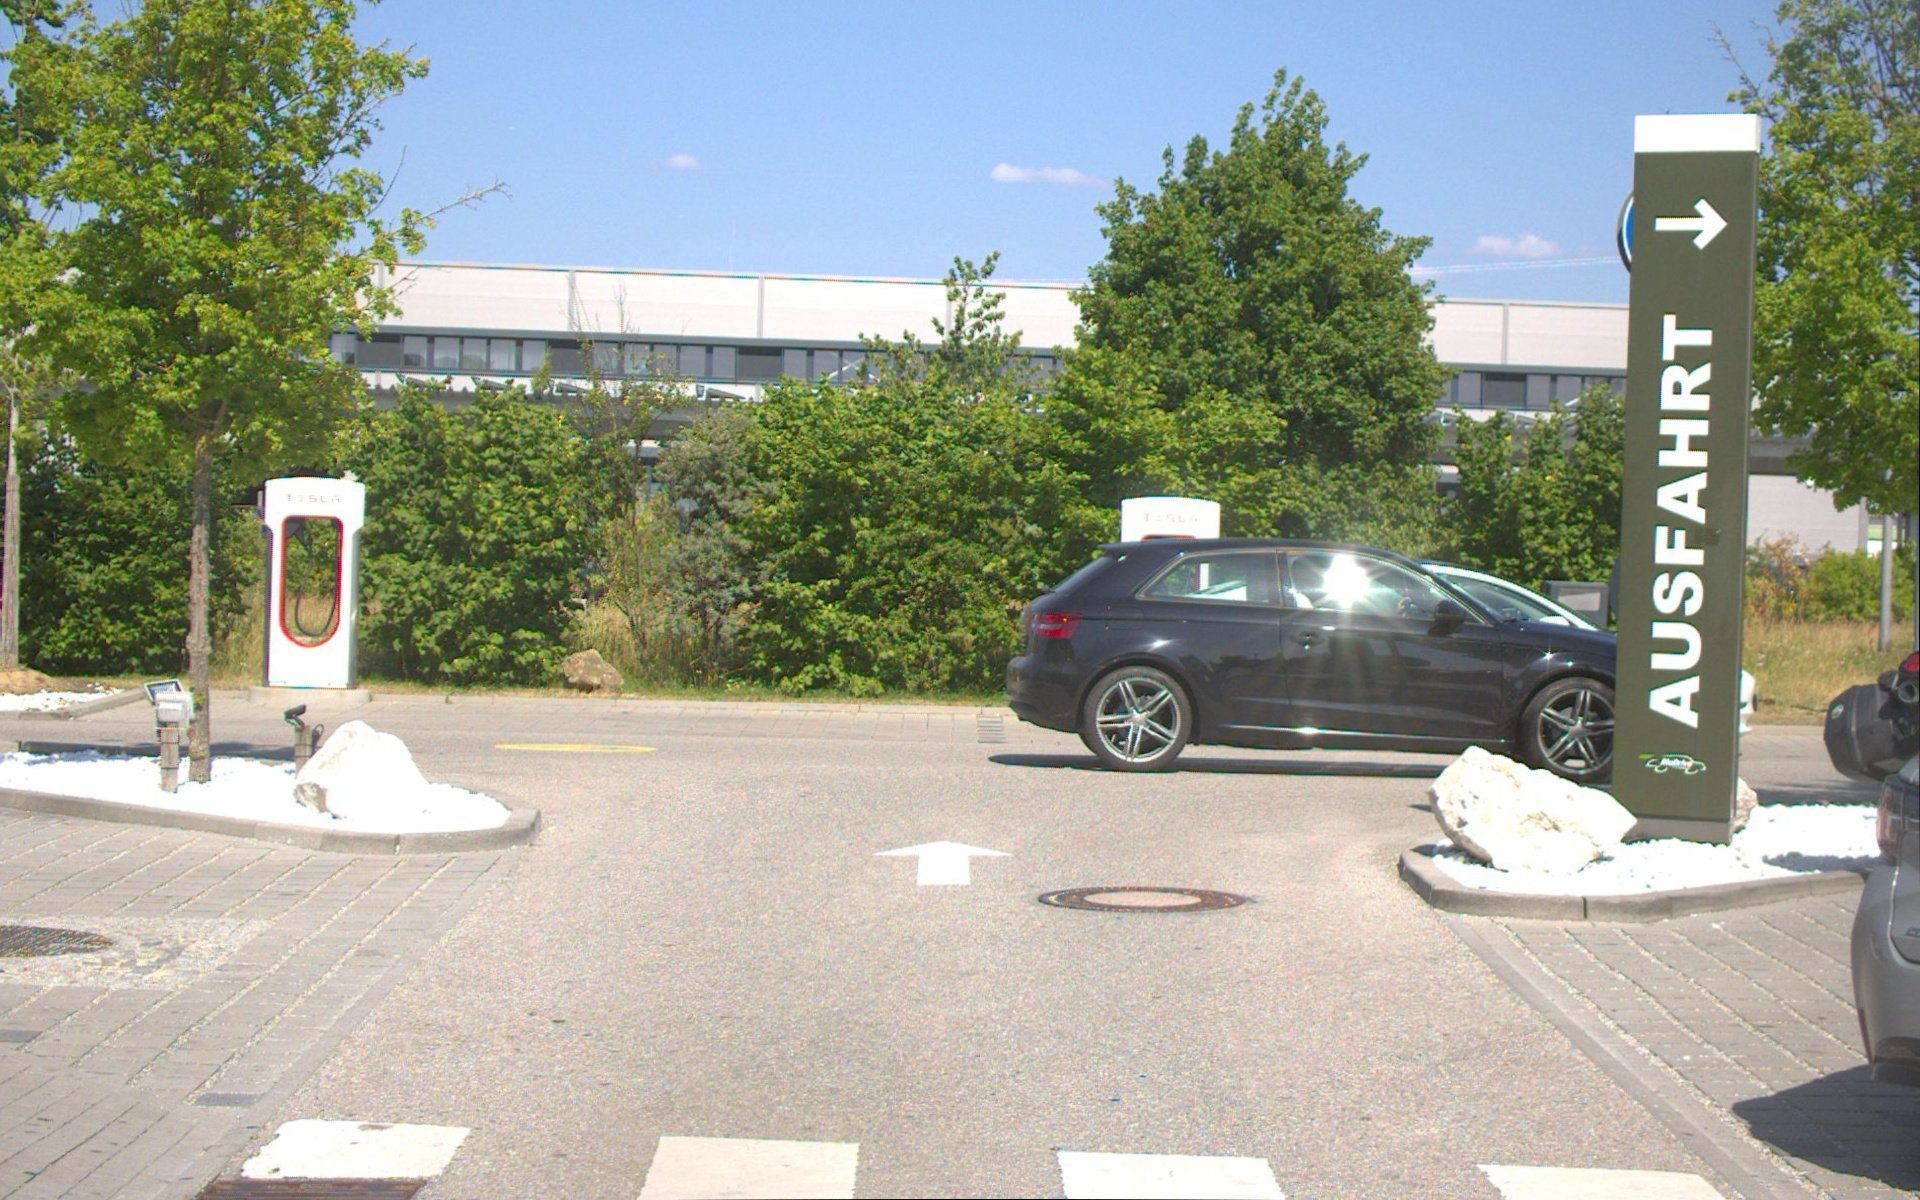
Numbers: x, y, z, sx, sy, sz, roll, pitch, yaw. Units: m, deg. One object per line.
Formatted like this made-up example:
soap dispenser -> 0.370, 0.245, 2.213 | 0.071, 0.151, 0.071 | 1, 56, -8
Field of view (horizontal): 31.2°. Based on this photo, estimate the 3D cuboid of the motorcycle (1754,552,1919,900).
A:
motorcycle -> 4.212, 0.456, 13.705 | 1.070, 1.246, 2.247 | 4, 4, 41

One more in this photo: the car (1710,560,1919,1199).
car -> 4.082, 0.634, 8.870 | 4.650, 1.442, 1.835 | -1, 2, -43

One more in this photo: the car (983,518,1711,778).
car -> 2.278, 0.297, 20.987 | 4.200, 1.436, 1.698 | 1, -1, -1

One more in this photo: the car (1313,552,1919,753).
car -> 4.983, 0.374, 26.186 | 4.434, 1.373, 1.822 | 1, 1, 3
